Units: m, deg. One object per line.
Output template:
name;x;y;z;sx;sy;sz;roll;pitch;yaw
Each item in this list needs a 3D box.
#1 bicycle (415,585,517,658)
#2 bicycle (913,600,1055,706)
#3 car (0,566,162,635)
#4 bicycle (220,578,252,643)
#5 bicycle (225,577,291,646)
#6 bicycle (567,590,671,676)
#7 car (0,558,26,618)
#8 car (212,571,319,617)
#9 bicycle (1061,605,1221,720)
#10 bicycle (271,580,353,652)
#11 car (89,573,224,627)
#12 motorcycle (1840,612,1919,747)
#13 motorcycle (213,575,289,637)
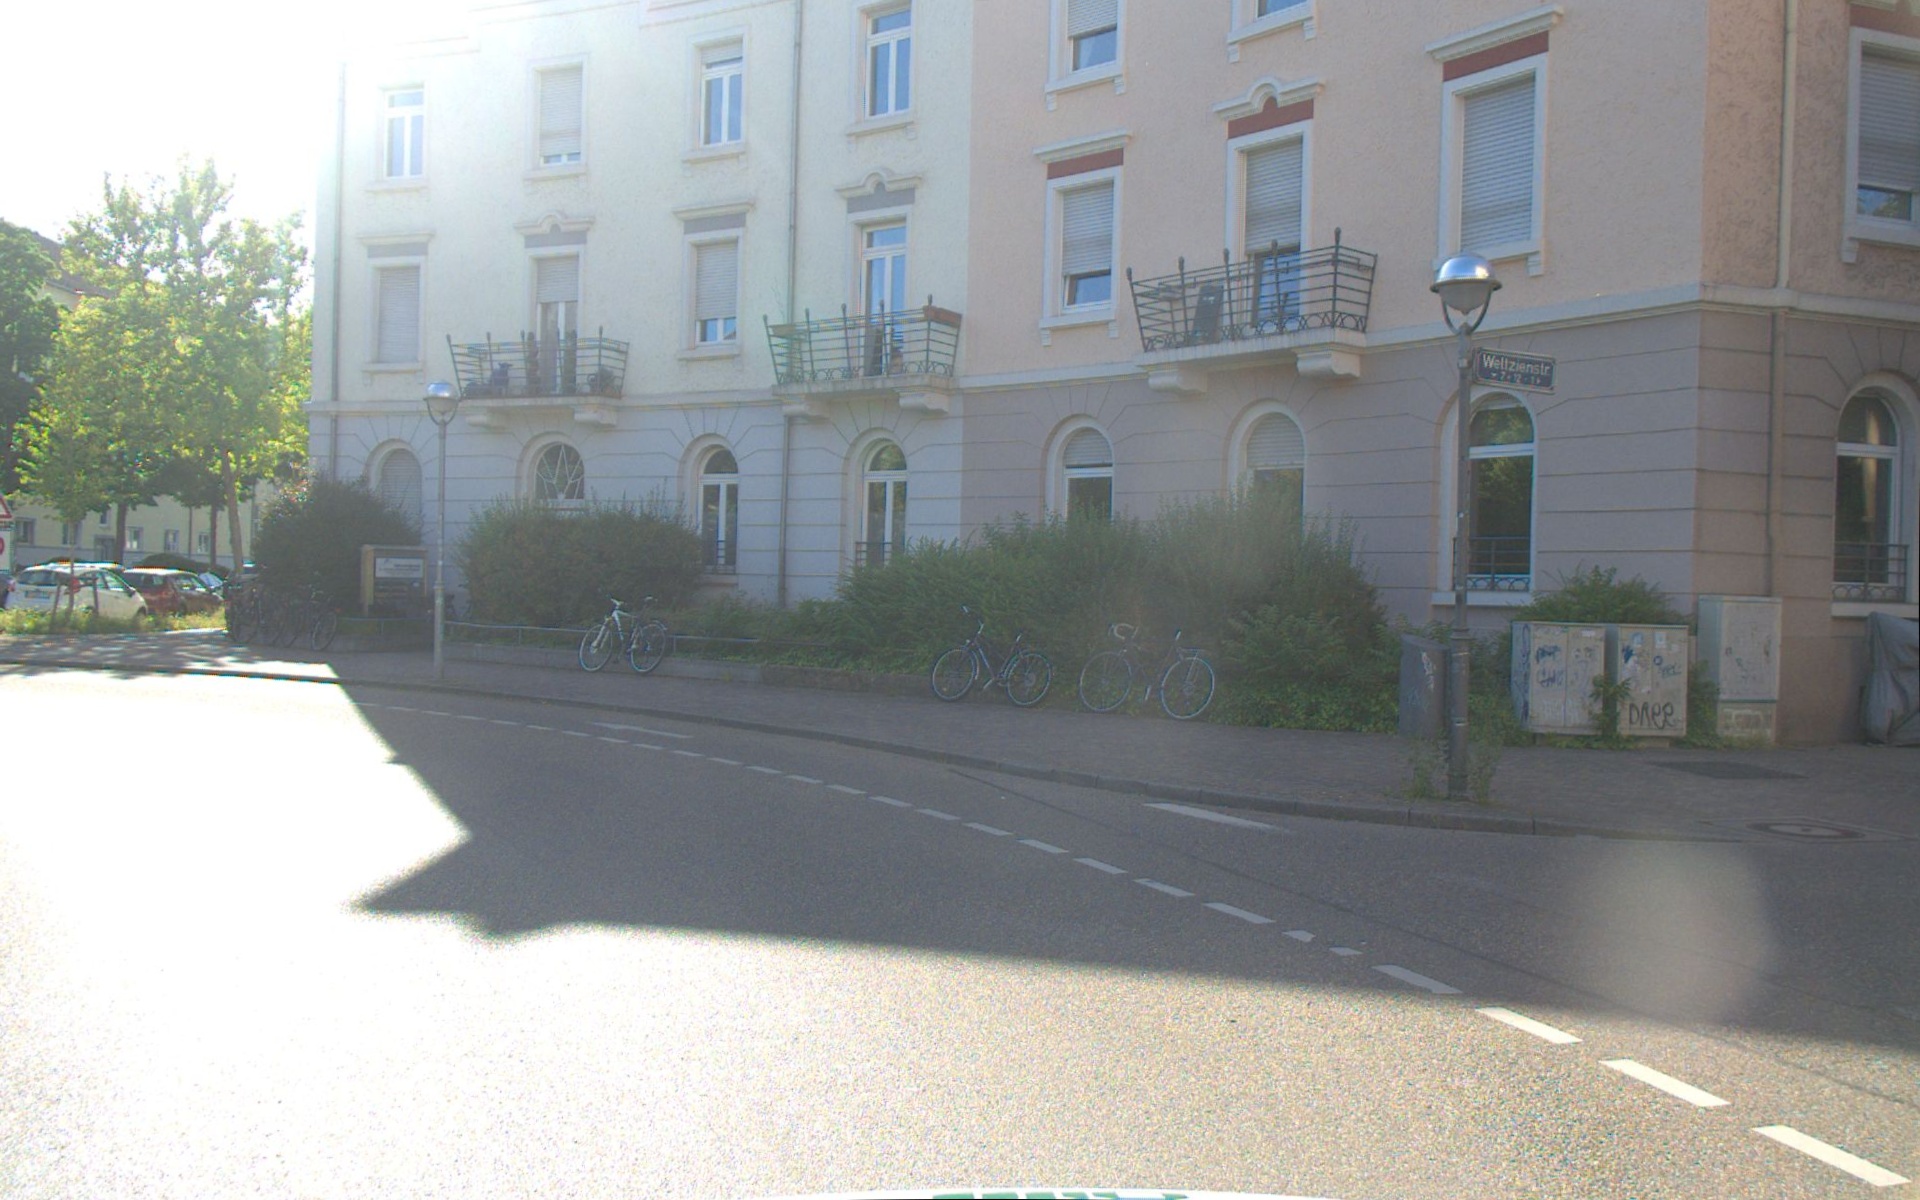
bicycle;-7.861;0.323;26.383;0.489;1.127;1.679;1;1;30
bicycle;0.254;0.576;18.687;1.654;1.107;0.500;1;2;39
car;-19.733;0.007;37.175;1.758;1.437;3.998;1;0;-2
bicycle;-13.375;0.178;30.580;0.492;1.127;1.937;1;1;-22
bicycle;-12.186;0.191;28.684;0.496;1.127;1.772;0;1;-42
bicycle;-4.694;0.435;22.712;1.656;1.107;0.500;1;2;41
car;-26.615;-0.332;43.809;1.759;1.603;3.996;1;0;-5
car;-20.374;-0.174;48.684;1.758;1.277;3.716;1;0;-4
bicycle;1.877;0.631;17.296;1.654;1.107;0.500;1;2;39
bicycle;-10.760;0.245;27.445;1.767;1.127;0.497;2;1;41
car;-20.215;-0.018;41.755;1.758;1.277;3.716;1;0;-4
motorcycle;9.983;0.771;16.457;2.113;1.241;0.938;1;2;-18
motorcycle;-14.271;0.106;33.332;0.867;1.212;1.490;-1;1;0
